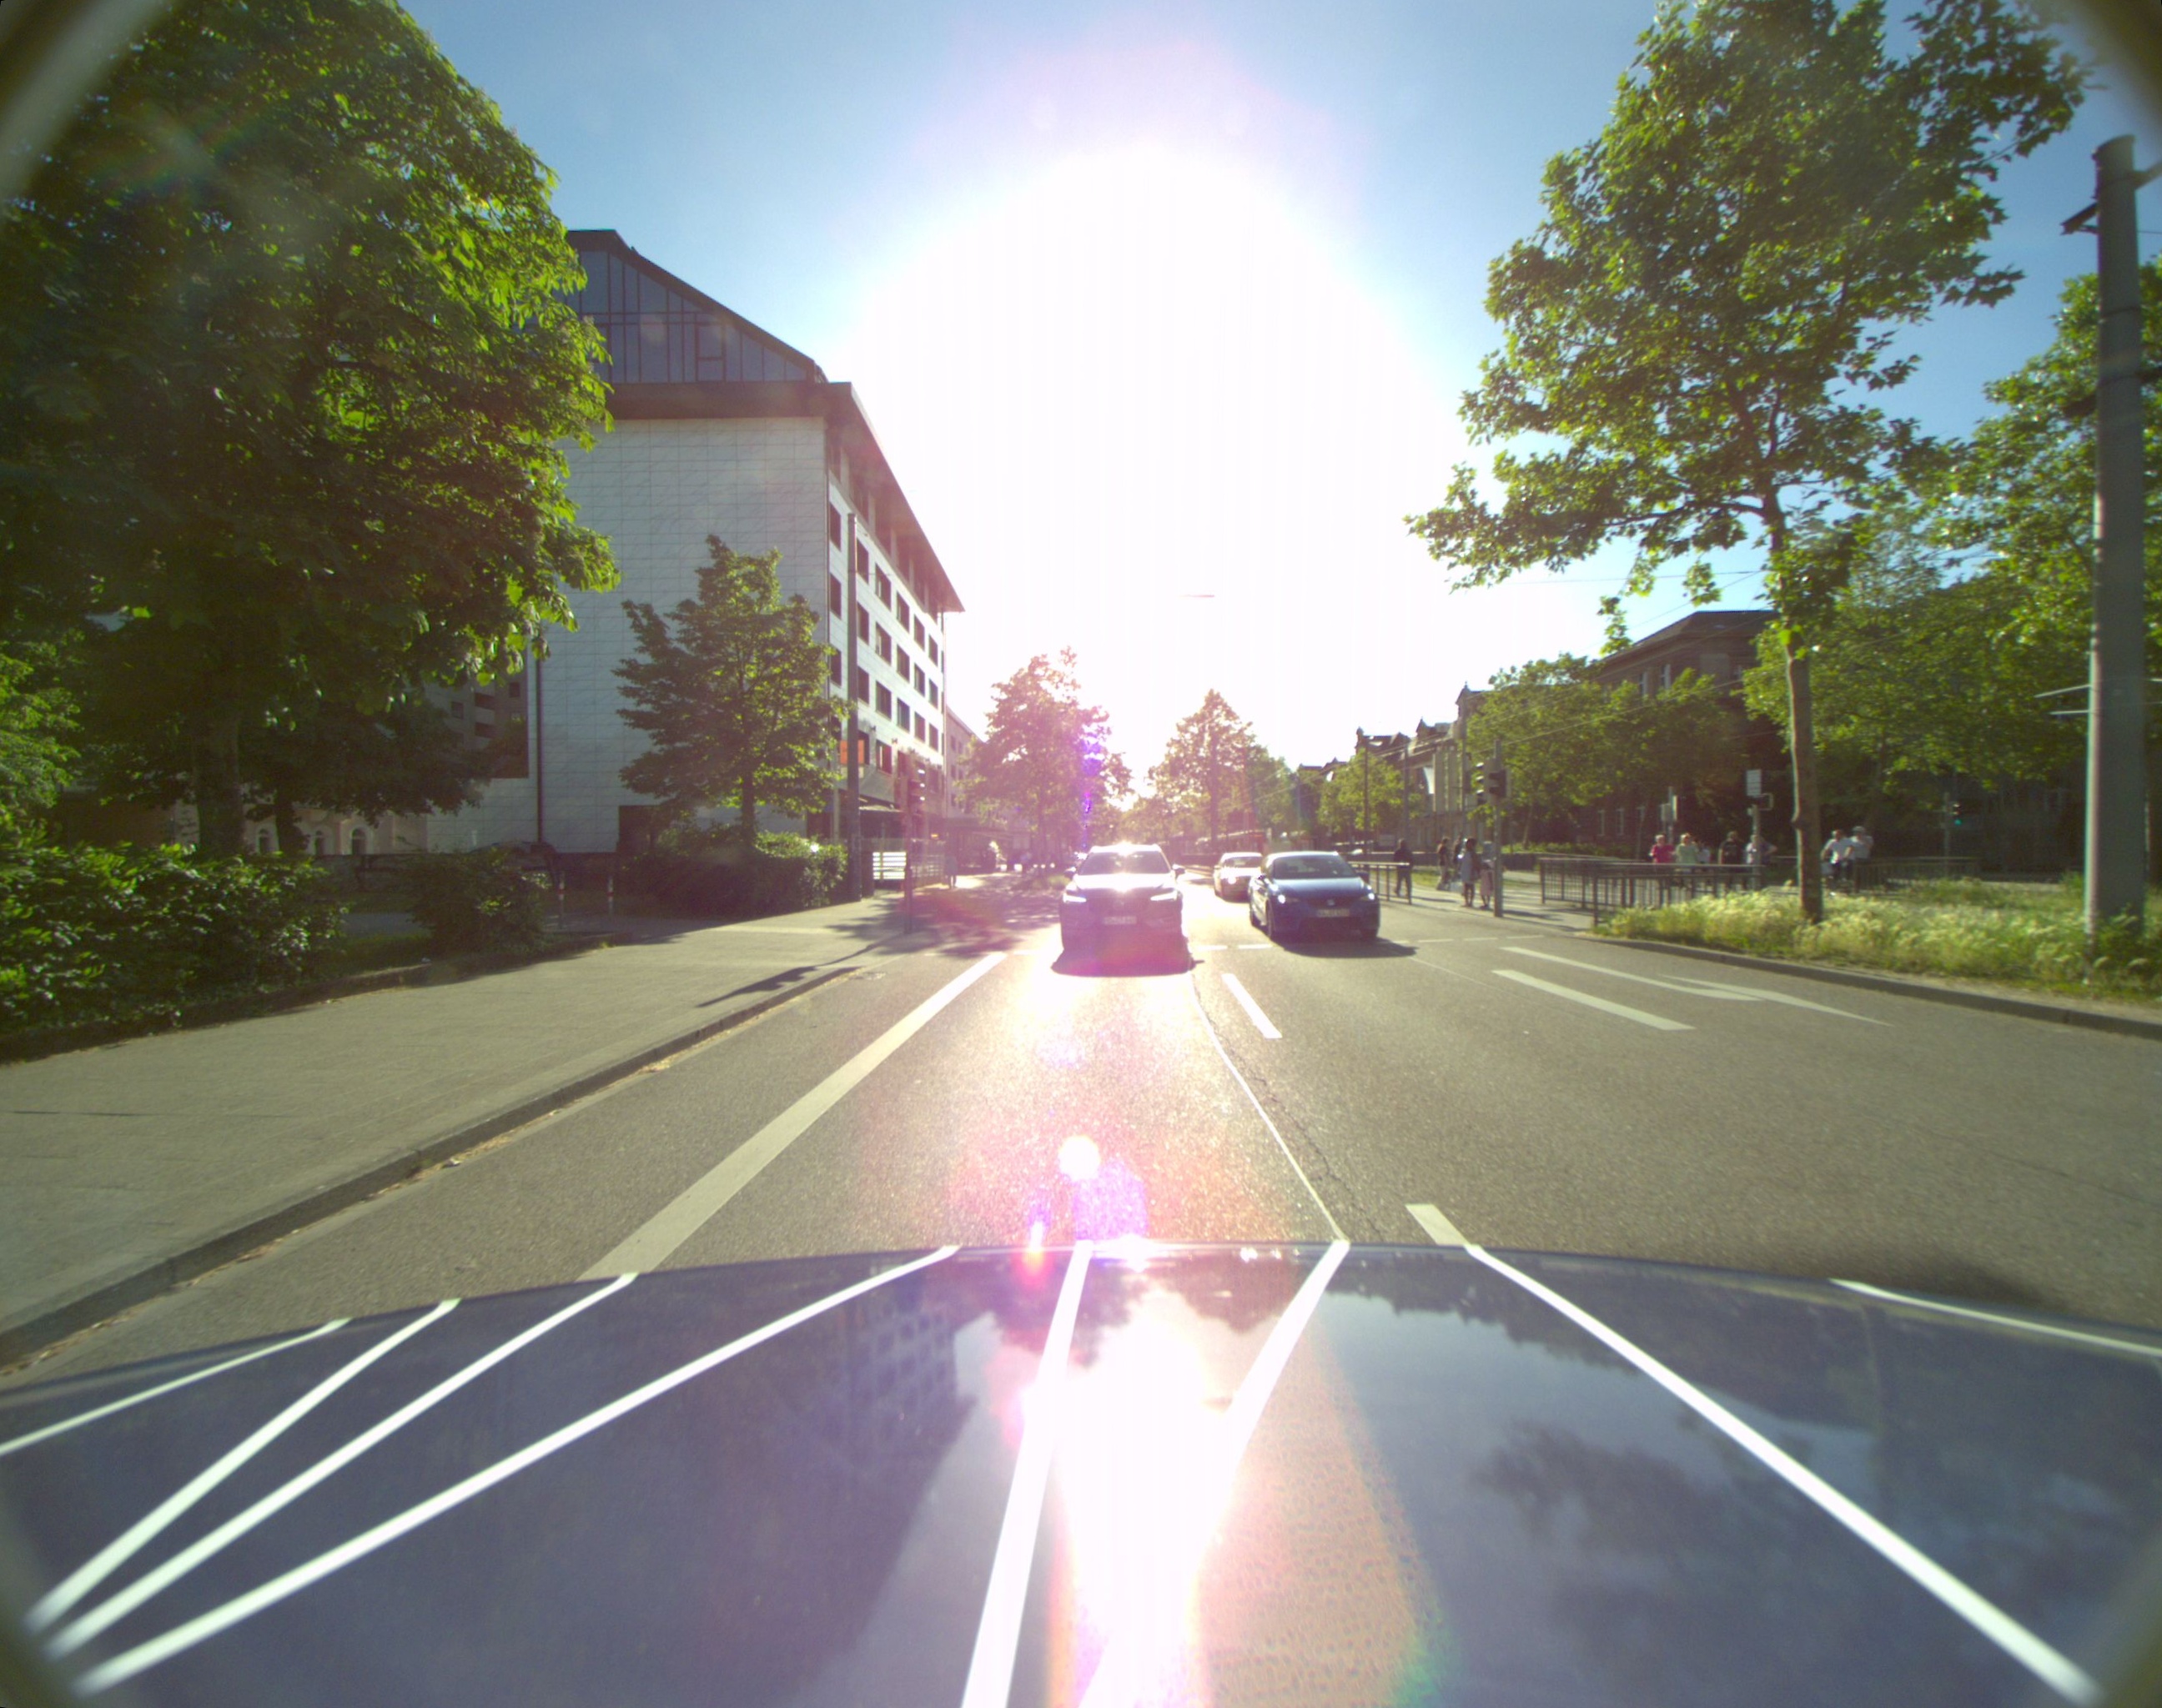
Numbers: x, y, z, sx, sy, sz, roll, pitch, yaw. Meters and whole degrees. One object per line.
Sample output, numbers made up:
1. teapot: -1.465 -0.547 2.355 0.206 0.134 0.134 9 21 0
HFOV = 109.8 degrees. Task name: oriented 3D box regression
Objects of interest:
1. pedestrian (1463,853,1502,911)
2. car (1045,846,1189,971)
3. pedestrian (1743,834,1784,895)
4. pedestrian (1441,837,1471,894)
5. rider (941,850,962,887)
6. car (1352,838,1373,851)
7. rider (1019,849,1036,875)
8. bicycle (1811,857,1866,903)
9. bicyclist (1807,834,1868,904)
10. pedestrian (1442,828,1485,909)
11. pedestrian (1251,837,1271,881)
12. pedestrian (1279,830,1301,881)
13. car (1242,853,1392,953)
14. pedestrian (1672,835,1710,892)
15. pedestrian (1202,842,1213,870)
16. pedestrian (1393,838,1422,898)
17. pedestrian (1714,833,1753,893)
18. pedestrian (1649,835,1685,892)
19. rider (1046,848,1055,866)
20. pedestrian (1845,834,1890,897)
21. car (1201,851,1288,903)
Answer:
1. pedestrian: 8.814 0.603 16.691 0.594 1.226 0.425 -3 1 -9
2. car: 0.488 0.731 13.053 1.949 1.690 5.305 -1 0 0
3. pedestrian: 18.993 0.286 21.157 0.595 1.634 0.698 -3 1 -35
4. pedestrian: 11.191 0.345 22.678 0.544 1.652 0.730 -2 1 6
5. rider: -5.603 0.639 32.904 0.779 1.582 0.789 0 1 -2
6. car: 26.949 -0.888 72.778 1.182 1.190 2.458 -3 1 1
7. rider: -3.524 0.525 50.235 0.924 1.668 0.977 -3 1 2
8. bicycle: 18.841 0.631 18.890 1.666 1.036 0.543 -3 2 -30
9. bicyclist: 18.742 0.358 18.829 0.970 1.634 0.833 -3 1 -32
10. pedestrian: 8.649 0.319 17.197 0.647 1.796 0.504 -3 1 -9
11. pedestrian: 8.519 0.224 35.915 0.711 2.002 0.787 -3 1 2
12. pedestrian: 9.261 0.061 33.687 0.785 2.175 0.801 -2 1 21
13. car: 4.014 0.762 13.569 1.777 1.440 3.870 -2 0 6
14. pedestrian: 18.255 0.290 22.736 0.595 1.667 0.698 -3 1 -32
15. pedestrian: 9.905 0.154 59.575 0.714 2.103 0.787 -2 1 6
16. pedestrian: 9.240 0.388 21.510 0.580 1.652 0.667 -2 1 10
17. pedestrian: 19.432 0.262 22.620 0.595 1.726 0.698 -3 1 -32
18. pedestrian: 18.467 0.303 23.945 0.595 1.735 0.698 -3 1 -32
19. rider: -3.028 0.276 76.140 0.759 1.717 0.895 -3 1 0
20. pedestrian: 20.806 0.288 20.097 0.595 1.612 0.698 -3 1 -32
21. car: 5.099 0.663 24.228 1.799 1.420 3.999 -3 1 -1
